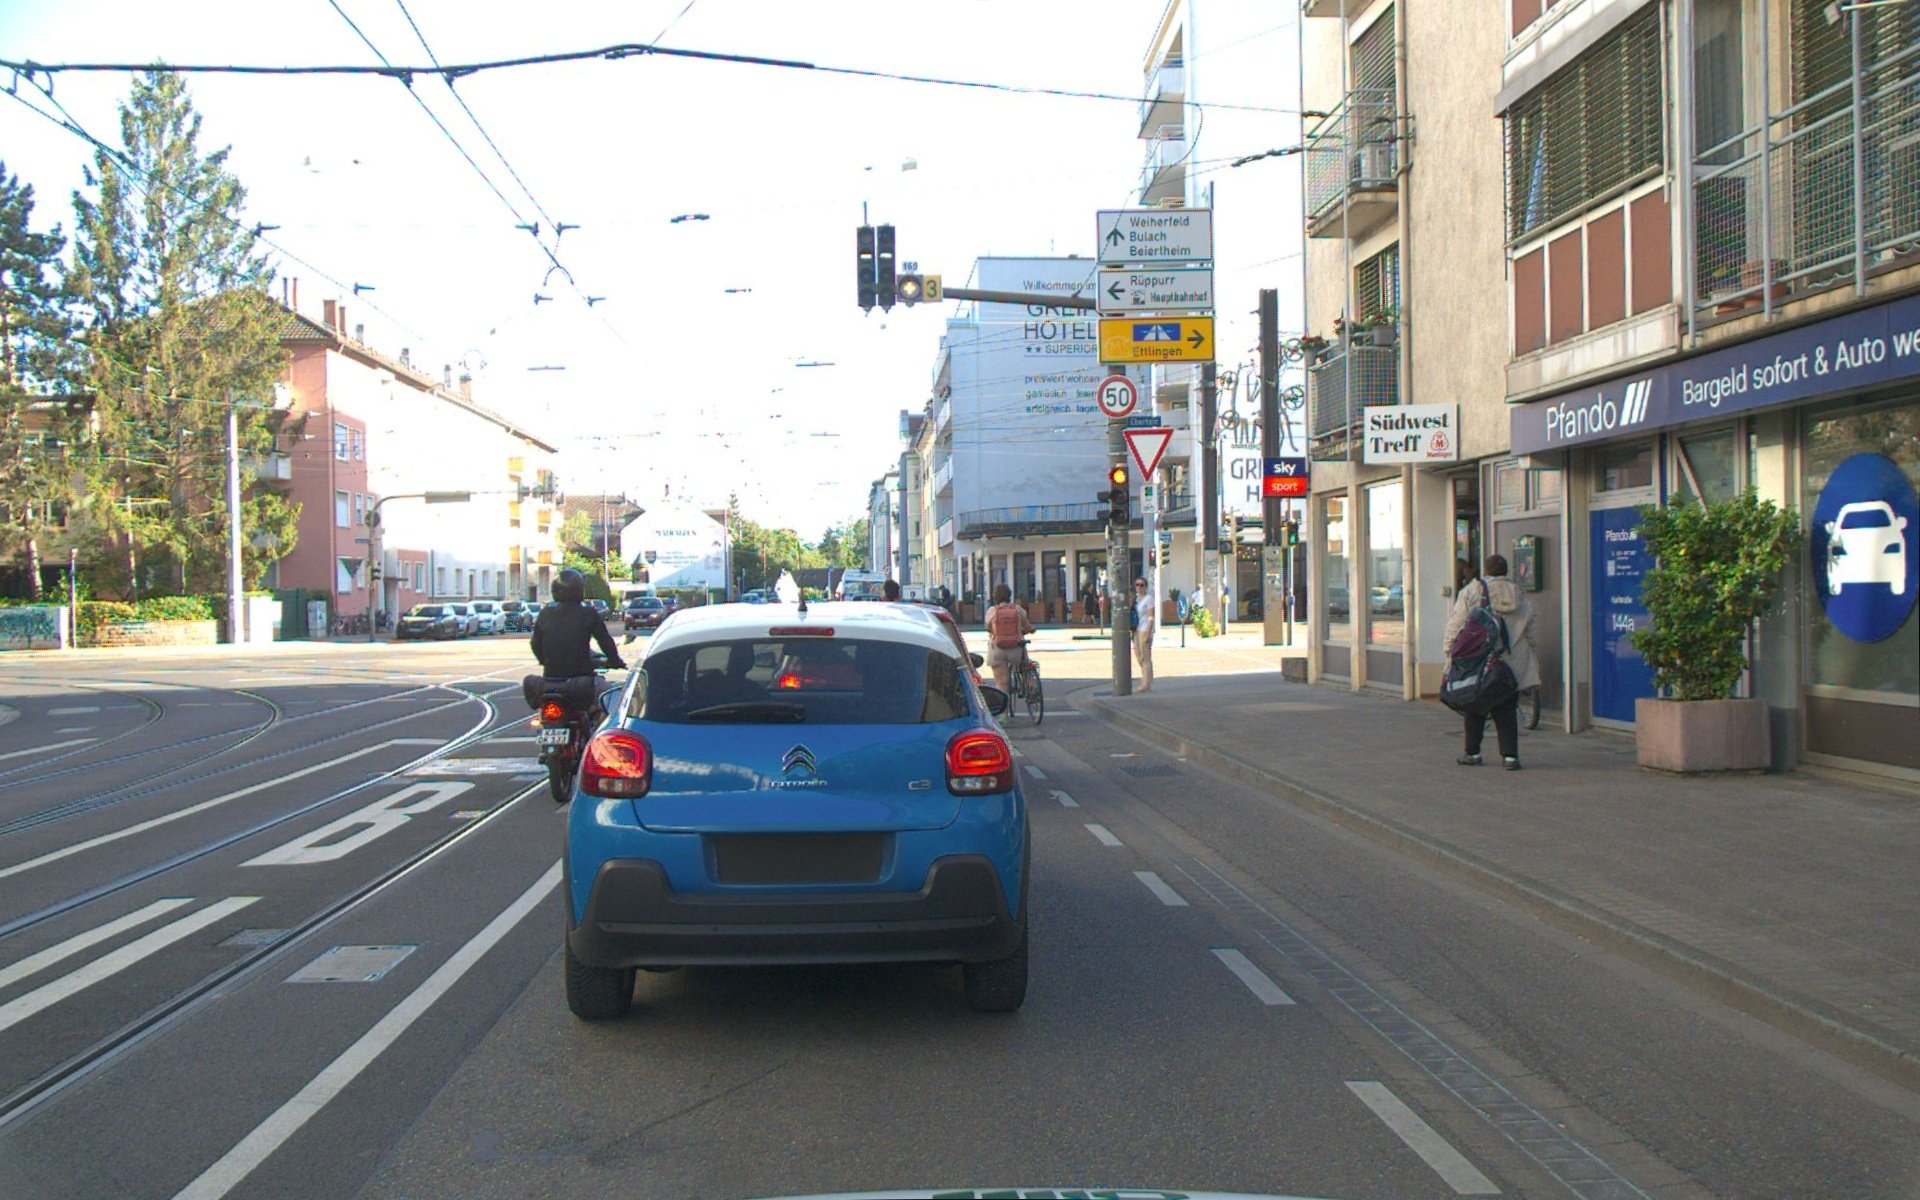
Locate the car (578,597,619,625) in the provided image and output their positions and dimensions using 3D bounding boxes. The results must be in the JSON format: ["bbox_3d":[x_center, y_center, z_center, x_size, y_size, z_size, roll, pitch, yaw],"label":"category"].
[{"bbox_3d":[-23.176,0.699,106.183,1.944,1.716,3.997,1,0,-4],"label":"car"}]

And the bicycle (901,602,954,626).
[{"bbox_3d":[-1.305,0.571,67.044,2.093,0.917,0.366,1,-1,-10],"label":"bicycle"}]

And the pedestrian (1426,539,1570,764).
[{"bbox_3d":[4.023,0.376,12.418,0.808,1.620,0.751,1,-1,-1],"label":"pedestrian"}]

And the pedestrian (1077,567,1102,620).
[{"bbox_3d":[5.092,-0.253,65.014,0.743,2.049,0.710,1,-1,30],"label":"pedestrian"}]

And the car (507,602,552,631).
[{"bbox_3d":[-23.823,0.887,91.583,1.699,1.524,3.996,1,0,-5],"label":"car"}]

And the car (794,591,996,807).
[{"bbox_3d":[-0.477,0.703,13.119,1.395,1.493,2.923,-1,0,-1],"label":"car"}]

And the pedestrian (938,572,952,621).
[{"bbox_3d":[-0.643,-0.158,70.256,0.565,2.049,0.625,1,-1,-3],"label":"pedestrian"}]

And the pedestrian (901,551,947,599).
[{"bbox_3d":[-1.603,-1.082,73.521,1.953,2.049,3.999,1,0,-1],"label":"pedestrian"}]

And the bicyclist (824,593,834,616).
[{"bbox_3d":[-8.344,0.290,105.204,0.549,1.503,0.747,1,-1,-2],"label":"bicyclist"}]

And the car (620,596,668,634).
[{"bbox_3d":[-14.535,0.687,76.194,1.740,1.695,3.853,1,0,-4],"label":"car"}]

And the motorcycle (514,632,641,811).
[{"bbox_3d":[-2.927,0.891,12.828,0.526,1.240,1.980,1,0,-1],"label":"motorcycle"}]

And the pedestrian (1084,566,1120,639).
[{"bbox_3d":[4.030,0.073,46.968,0.907,2.049,0.759,1,-1,-1],"label":"pedestrian"}]

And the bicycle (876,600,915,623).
[{"bbox_3d":[-2.690,0.483,69.354,1.751,0.917,0.365,1,-1,34],"label":"bicycle"}]

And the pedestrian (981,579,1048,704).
[{"bbox_3d":[0.663,0.501,20.200,0.761,1.486,0.681,1,-1,-1],"label":"pedestrian"}]

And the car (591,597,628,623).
[{"bbox_3d":[-23.510,0.678,111.069,1.845,1.716,3.997,1,0,-4],"label":"car"}]

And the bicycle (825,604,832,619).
[{"bbox_3d":[-8.352,0.711,105.274,0.342,0.919,1.858,1,0,-2],"label":"bicycle"}]

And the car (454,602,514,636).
[{"bbox_3d":[-22.646,0.880,78.874,1.751,1.537,4.148,1,0,-2],"label":"car"}]

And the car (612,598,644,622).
[{"bbox_3d":[-24.261,0.707,120.921,1.809,1.716,3.871,1,0,-4],"label":"car"}]

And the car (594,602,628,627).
[{"bbox_3d":[-24.499,0.996,116.245,1.797,1.716,3.997,1,0,-4],"label":"car"}]

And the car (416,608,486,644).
[{"bbox_3d":[-22.412,1.128,73.012,1.778,1.524,4.299,1,0,-1],"label":"car"}]

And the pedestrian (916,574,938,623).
[{"bbox_3d":[-1.387,-0.054,69.156,0.625,2.049,0.715,1,-1,-37],"label":"pedestrian"}]

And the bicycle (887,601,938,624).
[{"bbox_3d":[-1.961,0.503,68.263,2.093,0.917,0.366,1,-1,-10],"label":"bicycle"}]

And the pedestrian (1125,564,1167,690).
[{"bbox_3d":[2.734,0.397,24.322,0.507,1.814,0.595,1,-1,-3],"label":"pedestrian"}]

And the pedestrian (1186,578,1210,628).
[{"bbox_3d":[7.899,0.100,54.928,0.720,1.629,0.749,1,-1,12],"label":"pedestrian"}]

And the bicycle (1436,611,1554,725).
[{"bbox_3d":[5.046,0.616,15.695,0.531,1.016,1.705,1,0,-1],"label":"bicycle"}]

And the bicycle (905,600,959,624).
[{"bbox_3d":[-1.115,0.483,65.913,2.093,0.917,0.366,1,-1,-10],"label":"bicycle"}]

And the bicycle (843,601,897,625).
[{"bbox_3d":[-3.598,0.528,66.132,2.093,0.917,0.366,1,-1,-10],"label":"bicycle"}]

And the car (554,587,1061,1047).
[{"bbox_3d":[-0.517,0.715,7.143,1.620,1.469,3.522,1,0,-1],"label":"car"}]

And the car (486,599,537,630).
[{"bbox_3d":[-23.220,0.746,85.681,1.750,1.524,3.997,1,0,-4],"label":"car"}]

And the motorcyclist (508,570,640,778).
[{"bbox_3d":[-2.927,0.551,12.601,0.843,1.531,0.598,1,-1,-1],"label":"motorcyclist"}]

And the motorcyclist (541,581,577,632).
[{"bbox_3d":[-16.244,0.257,66.987,1.162,2.049,1.274,-1,0,-4],"label":"motorcyclist"}]

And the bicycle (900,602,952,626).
[{"bbox_3d":[-1.376,0.563,67.447,2.093,0.917,0.366,1,-1,-10],"label":"bicycle"}]

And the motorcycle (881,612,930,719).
[{"bbox_3d":[-0.620,0.733,19.413,0.515,1.159,2.289,1,0,-1],"label":"motorcycle"}]

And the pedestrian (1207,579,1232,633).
[{"bbox_3d":[8.291,0.197,52.816,0.736,1.686,0.884,1,-1,10],"label":"pedestrian"}]

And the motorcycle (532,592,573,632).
[{"bbox_3d":[-16.316,0.476,66.359,0.905,1.512,3.723,1,0,-4],"label":"motorcycle"}]

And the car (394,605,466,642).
[{"bbox_3d":[-21.911,0.942,68.462,1.757,1.446,3.994,1,0,-2],"label":"car"}]

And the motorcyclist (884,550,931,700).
[{"bbox_3d":[-0.612,0.291,19.603,0.516,1.746,0.717,1,-1,-1],"label":"motorcyclist"}]

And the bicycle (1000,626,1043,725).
[{"bbox_3d":[0.751,0.906,20.492,0.419,1.142,1.998,1,0,-1],"label":"bicycle"}]
